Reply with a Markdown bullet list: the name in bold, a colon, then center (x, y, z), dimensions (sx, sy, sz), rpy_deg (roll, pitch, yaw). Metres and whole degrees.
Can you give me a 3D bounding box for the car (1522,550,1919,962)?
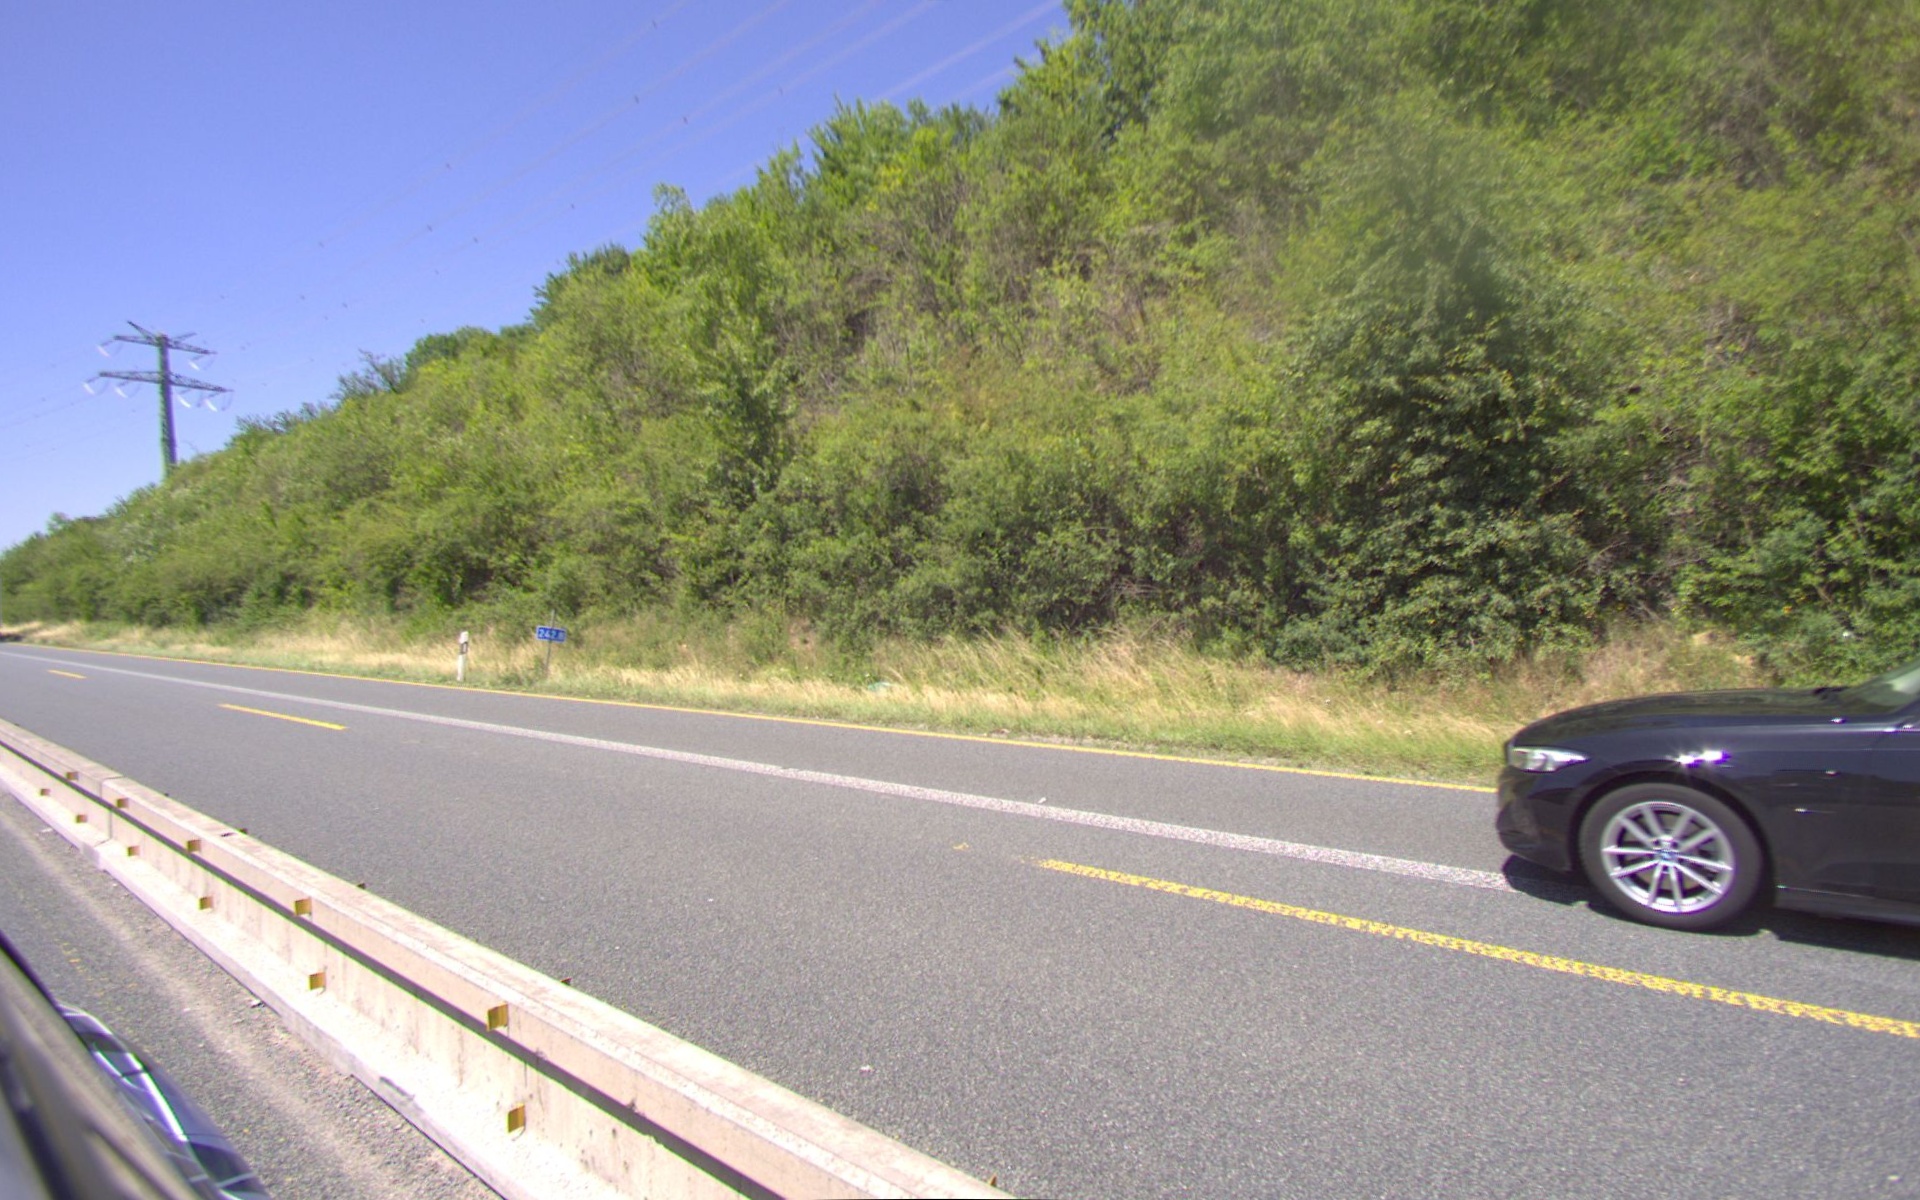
- **car**: center (4.870, 0.550, 3.822), dimensions (4.528, 1.536, 1.775), rpy_deg (-1, 0, 41)
